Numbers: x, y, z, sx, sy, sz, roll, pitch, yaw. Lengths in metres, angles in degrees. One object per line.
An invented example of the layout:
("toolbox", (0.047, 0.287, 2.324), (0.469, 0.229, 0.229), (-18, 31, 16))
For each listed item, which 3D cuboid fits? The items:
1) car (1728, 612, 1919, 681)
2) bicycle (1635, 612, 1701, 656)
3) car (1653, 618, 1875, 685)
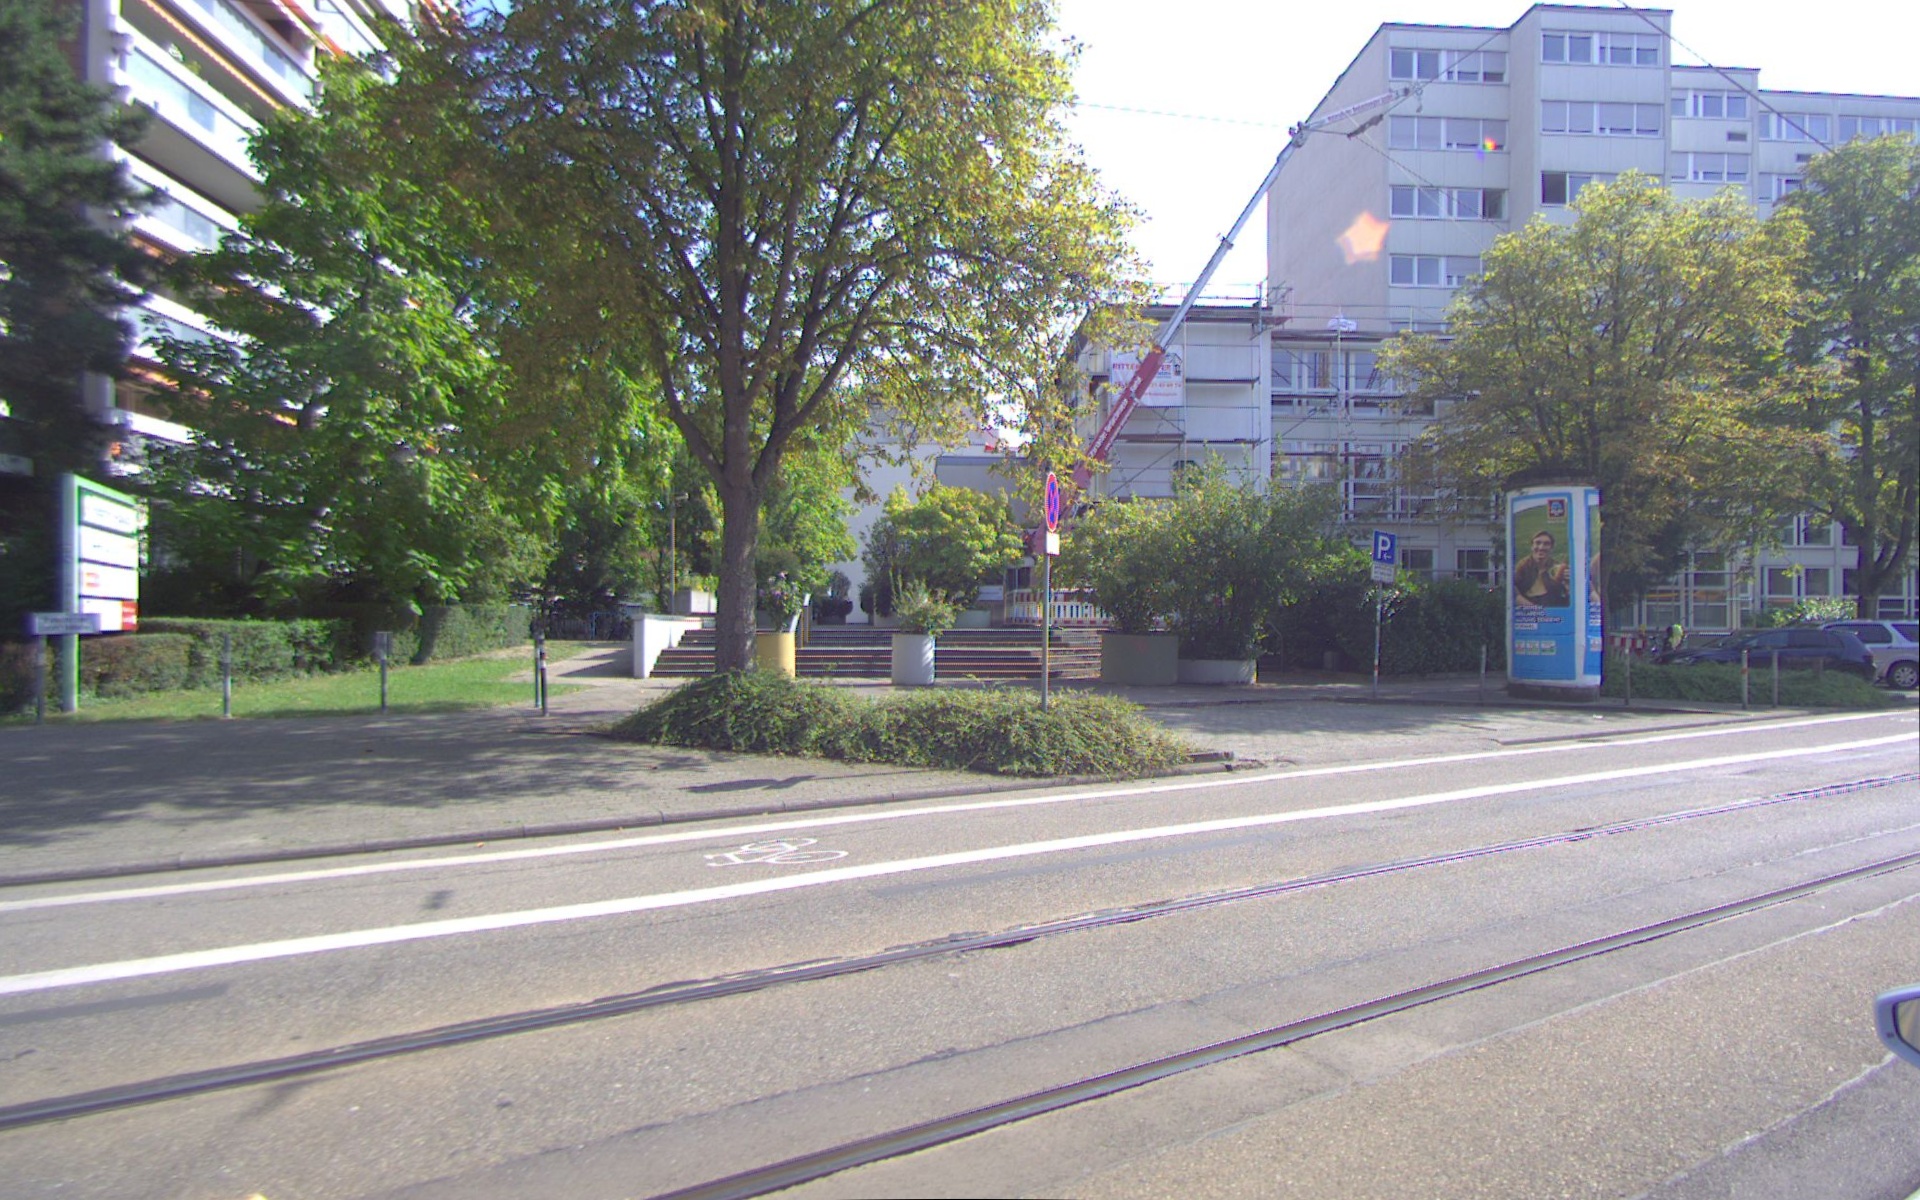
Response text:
("car", (21.886, 1.136, 25.234), (3.719, 1.643, 1.745), (0, -1, 16))
("bicycle", (23.460, 1.119, 33.338), (0.574, 1.399, 2.433), (0, -1, 2))
("car", (18.830, 1.173, 23.728), (3.720, 1.461, 1.694), (0, -1, 18))
